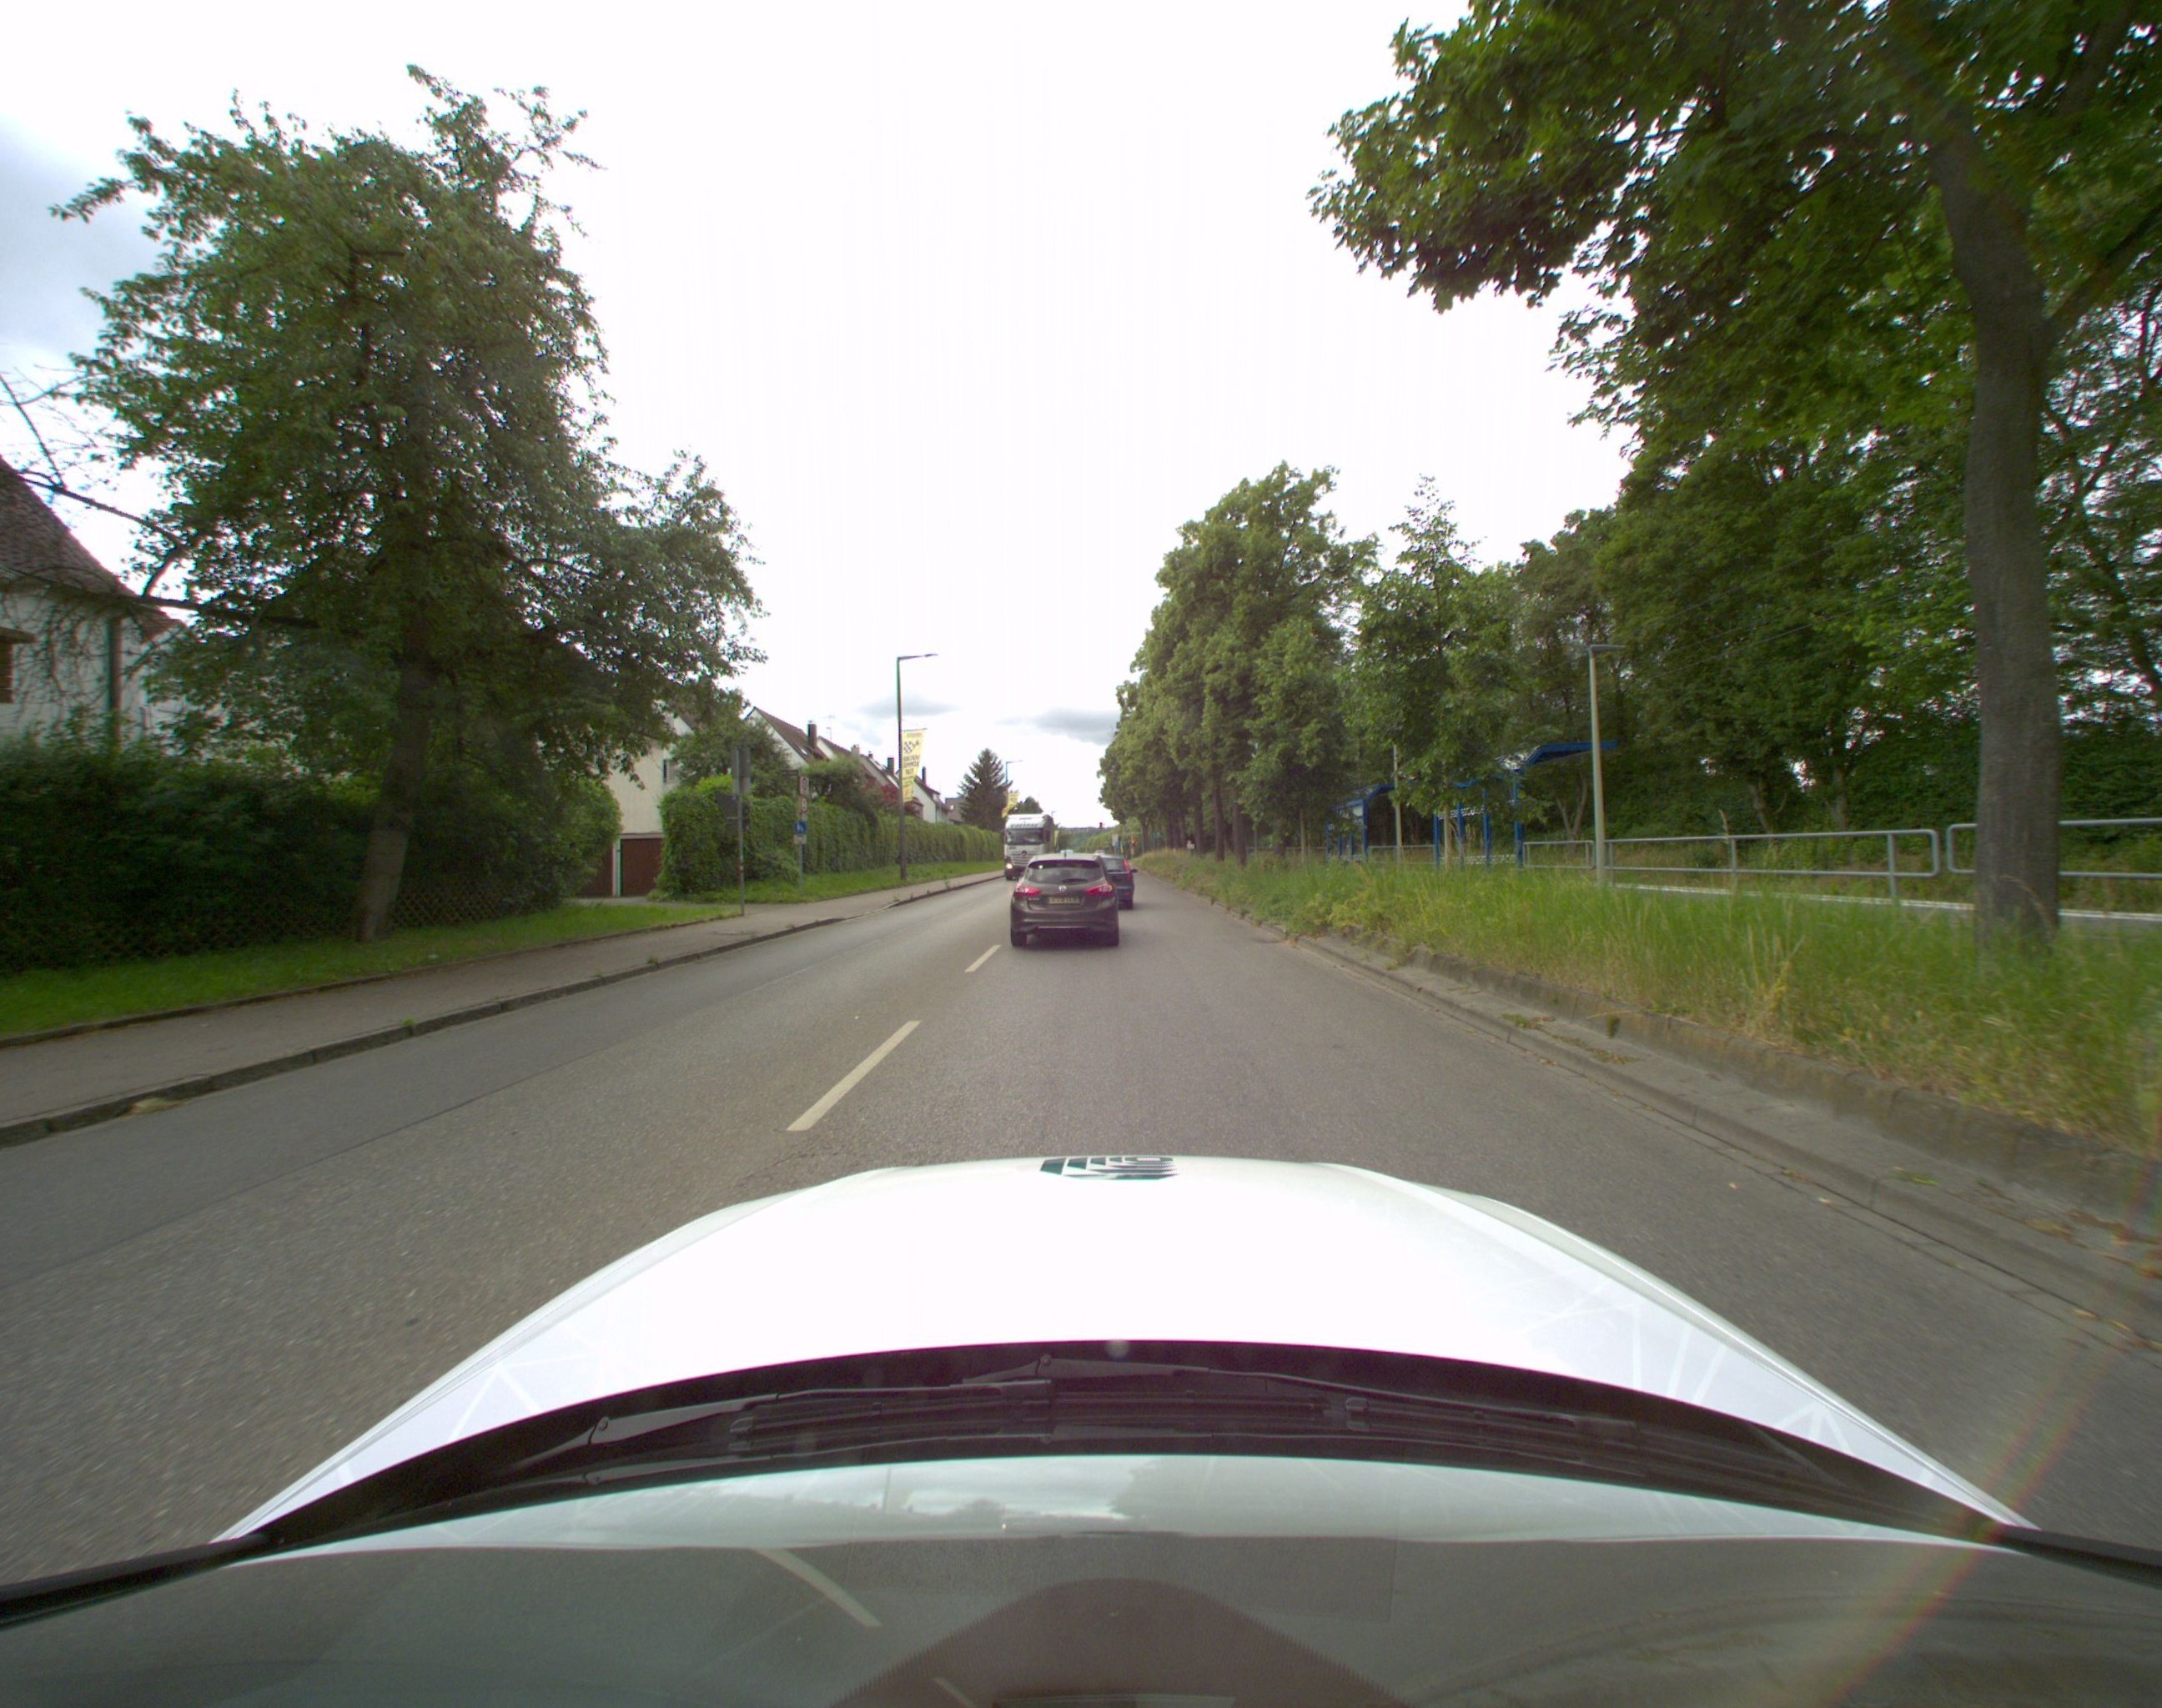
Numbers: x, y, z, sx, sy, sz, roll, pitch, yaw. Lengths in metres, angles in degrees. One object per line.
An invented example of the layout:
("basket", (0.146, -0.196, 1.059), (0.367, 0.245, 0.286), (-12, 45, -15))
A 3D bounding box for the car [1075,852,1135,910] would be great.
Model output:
("car", (0.690, 0.708, 23.227), (1.533, 1.478, 3.765), (-1, 0, 1))

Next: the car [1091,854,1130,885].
("car", (1.431, 0.726, 40.046), (1.785, 1.397, 4.001), (-1, 0, 1))

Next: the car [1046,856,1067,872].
("car", (-2.243, 0.905, 75.162), (1.727, 1.375, 4.240), (-2, 0, 1))

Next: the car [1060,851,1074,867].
("car", (-1.857, 0.619, 109.525), (1.901, 1.932, 4.910), (-2, 1, -1))

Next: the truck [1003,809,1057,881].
("truck", (-3.124, -0.487, 53.132), (2.541, 4.043, 10.619), (-3, -1, 1))

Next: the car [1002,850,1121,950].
("car", (-0.239, 0.714, 14.899), (1.828, 1.519, 4.484), (-1, 0, 2))
